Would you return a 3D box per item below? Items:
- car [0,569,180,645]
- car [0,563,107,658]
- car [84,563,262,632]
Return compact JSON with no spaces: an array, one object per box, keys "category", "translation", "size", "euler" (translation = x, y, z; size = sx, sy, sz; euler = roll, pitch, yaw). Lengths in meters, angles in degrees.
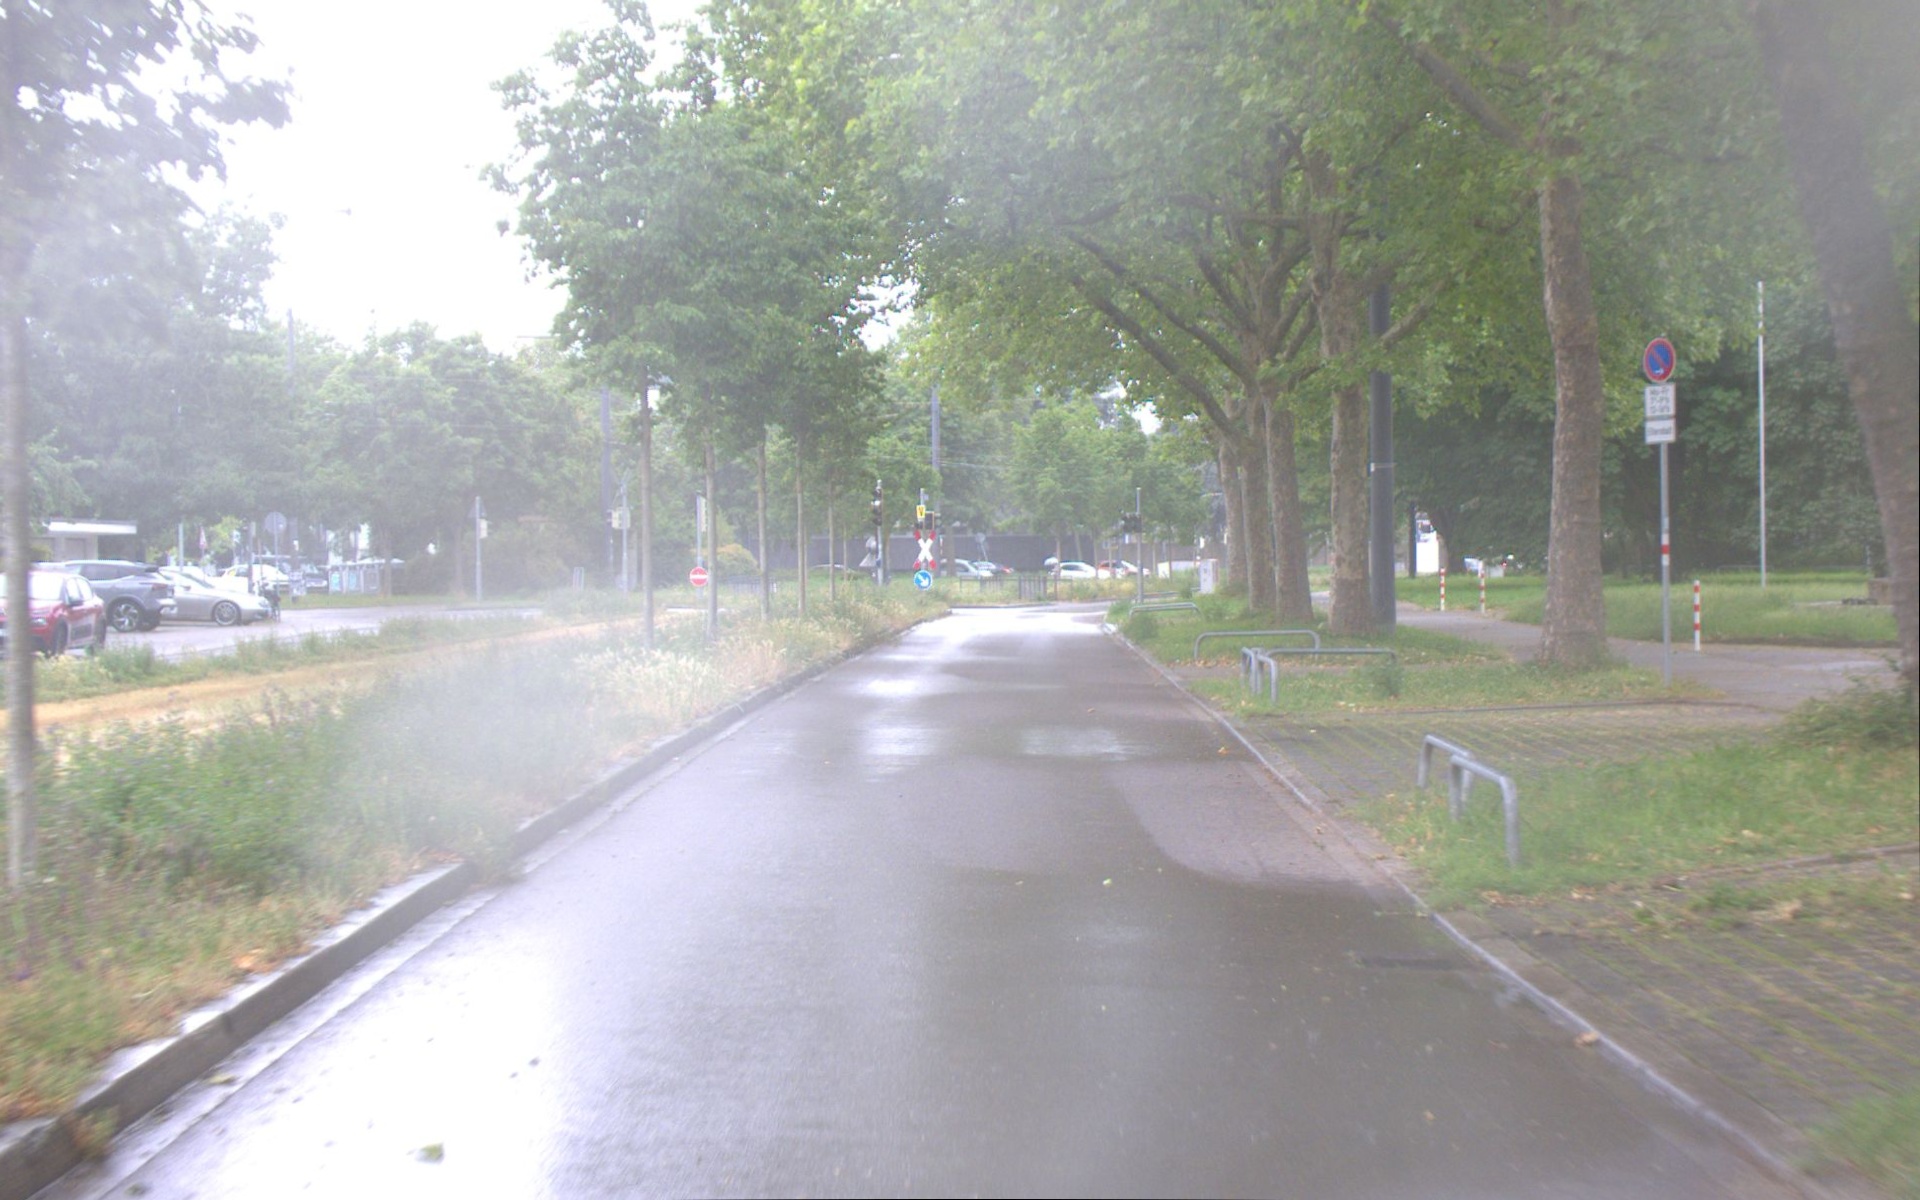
[{"category":"car","translation":[-19.788,0.152,77.434],"size":[3.986,1.611,2.000],"euler":[-1,1,-1]},{"category":"car","translation":[-16.099,0.154,58.727],"size":[1.993,1.483,4.205],"euler":[1,1,0]},{"category":"car","translation":[-19.563,-0.078,85.583],"size":[3.986,1.611,2.000],"euler":[-1,1,-1]}]
